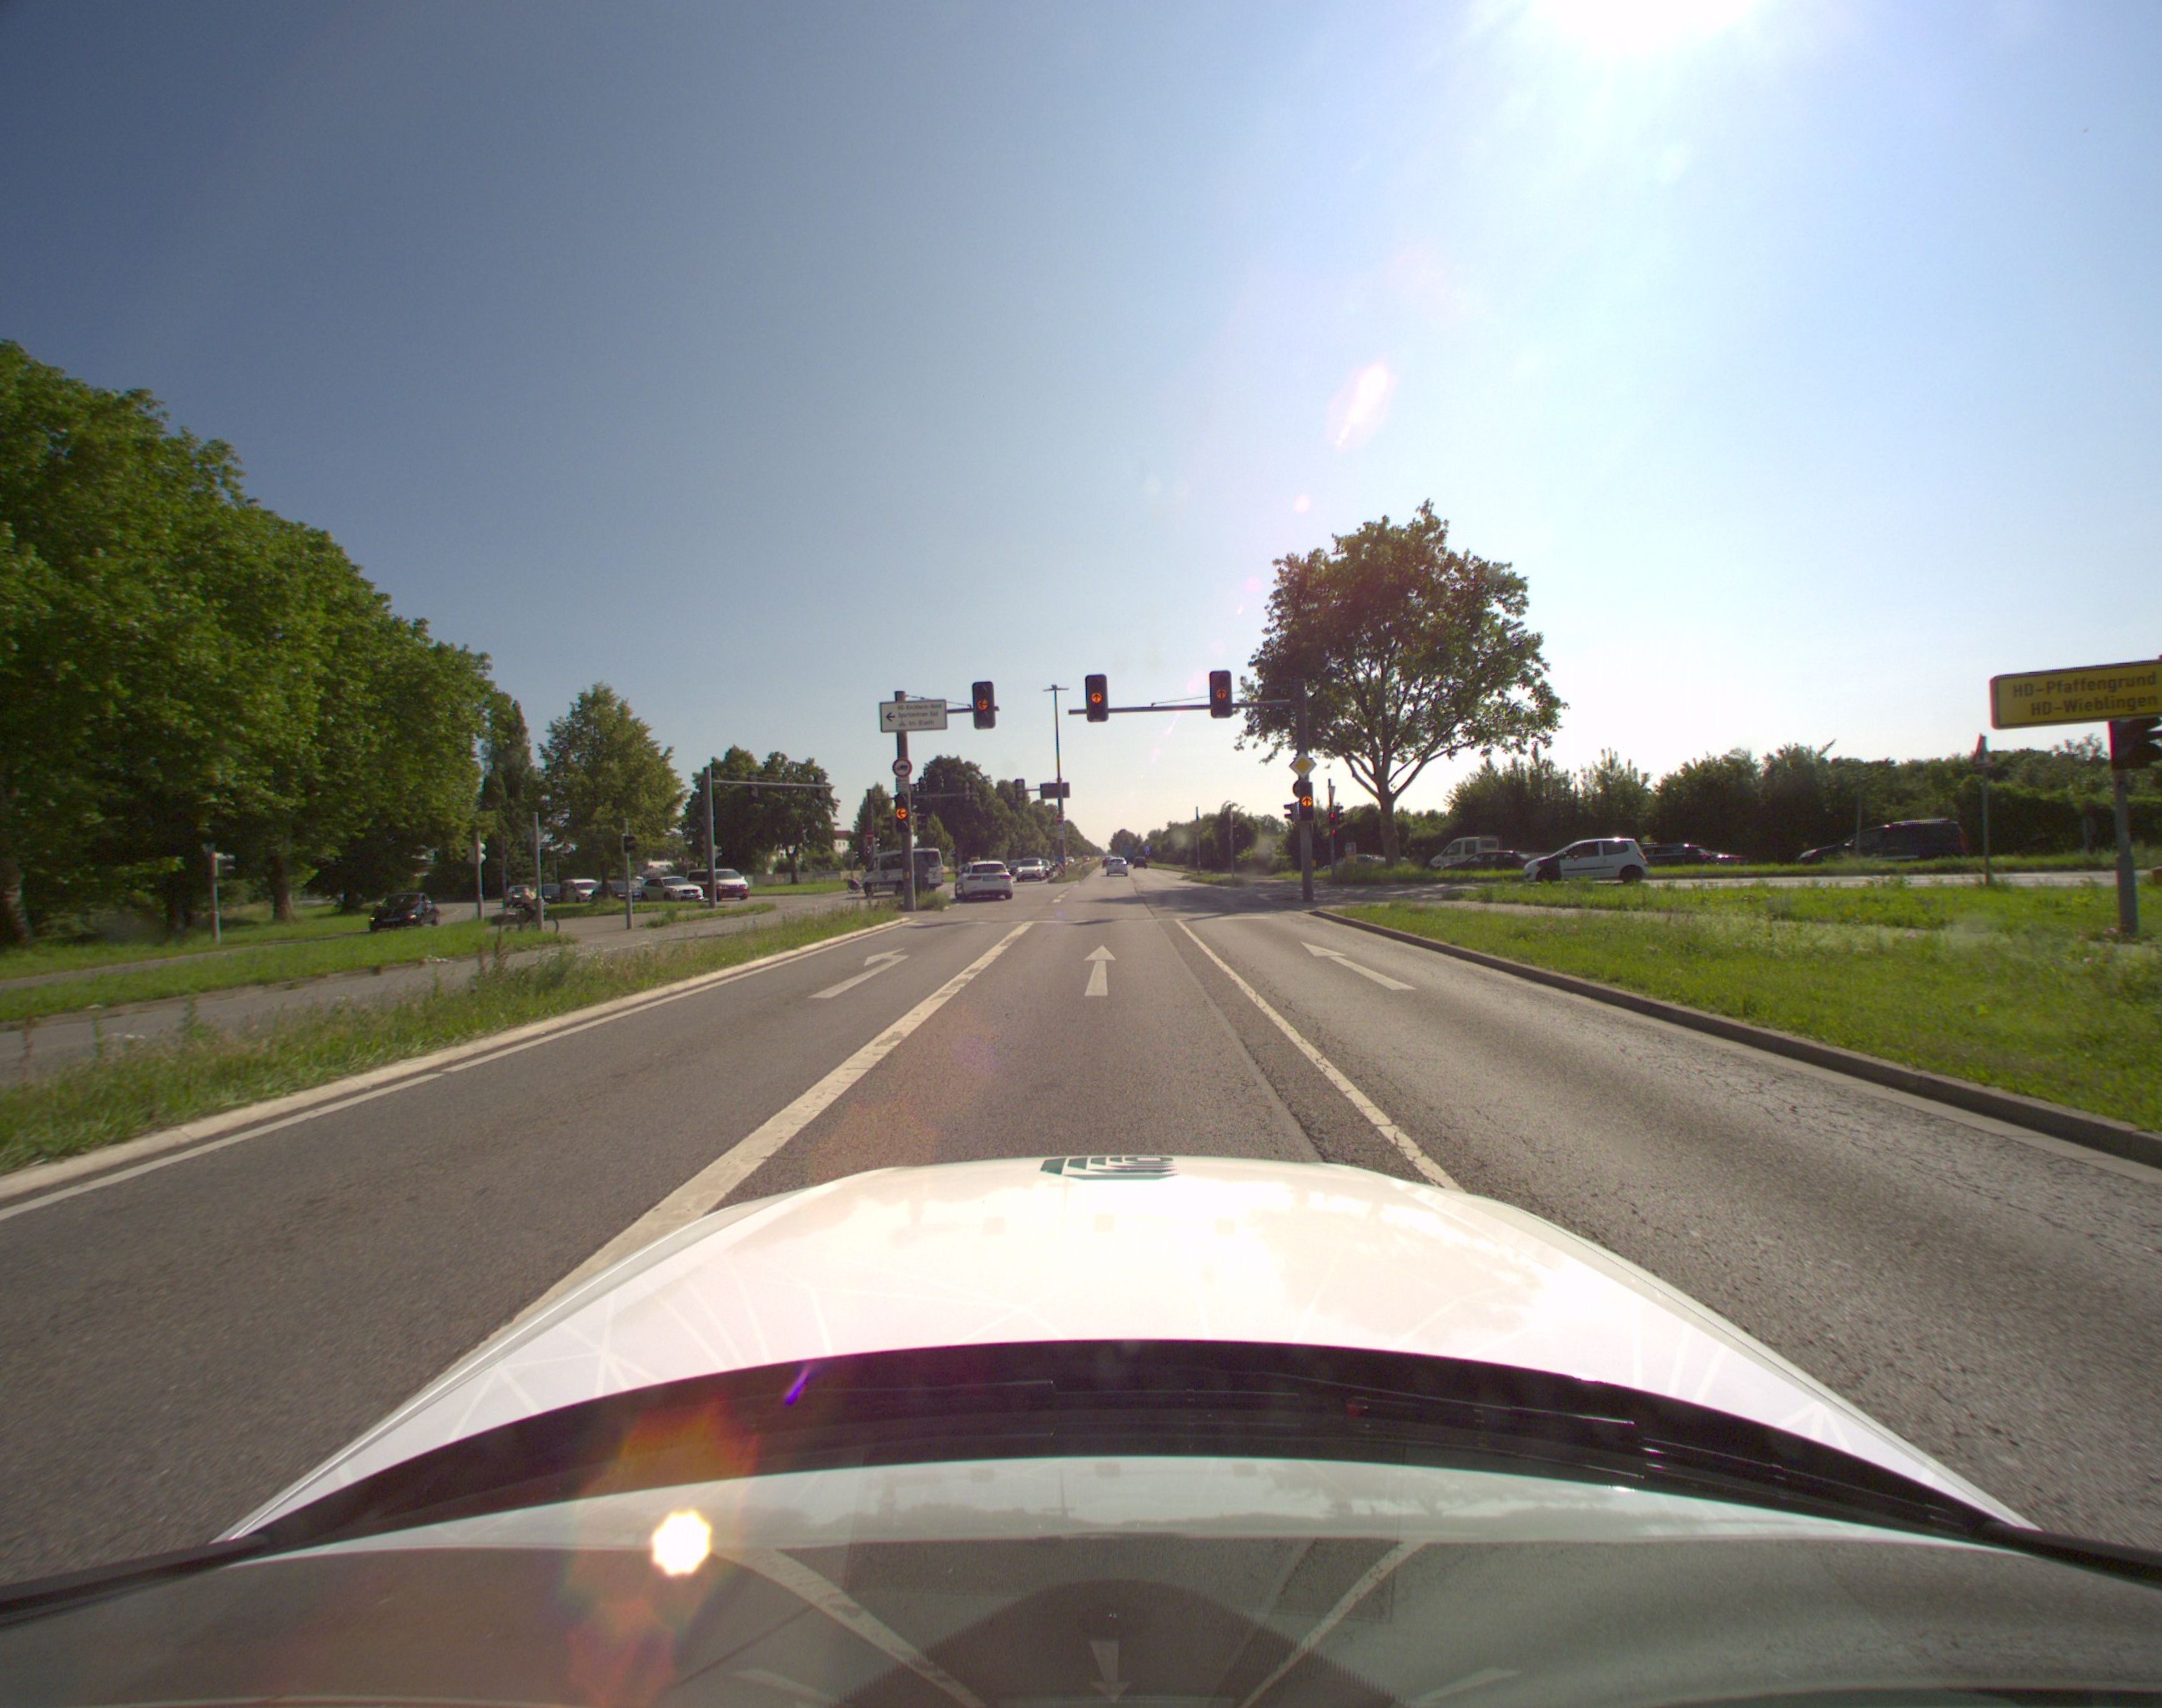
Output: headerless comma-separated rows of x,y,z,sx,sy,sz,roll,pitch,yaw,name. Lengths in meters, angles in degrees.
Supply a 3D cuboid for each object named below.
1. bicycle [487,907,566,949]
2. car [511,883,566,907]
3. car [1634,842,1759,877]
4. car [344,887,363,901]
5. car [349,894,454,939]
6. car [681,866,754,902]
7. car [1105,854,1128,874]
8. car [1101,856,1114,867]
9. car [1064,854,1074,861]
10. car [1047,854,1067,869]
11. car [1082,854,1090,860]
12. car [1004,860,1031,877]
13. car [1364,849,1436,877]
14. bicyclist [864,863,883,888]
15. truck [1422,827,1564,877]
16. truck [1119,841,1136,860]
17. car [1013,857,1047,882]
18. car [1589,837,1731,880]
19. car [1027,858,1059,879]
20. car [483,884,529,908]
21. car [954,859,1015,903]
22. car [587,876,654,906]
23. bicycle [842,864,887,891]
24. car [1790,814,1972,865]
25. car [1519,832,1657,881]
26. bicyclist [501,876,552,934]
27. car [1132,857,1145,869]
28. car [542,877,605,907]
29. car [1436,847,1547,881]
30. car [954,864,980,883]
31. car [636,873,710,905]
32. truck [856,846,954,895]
-15.126,2.010,22.220,1.667,1.041,0.748,-1,0,7,bicycle
-38.126,2.888,57.186,4.072,1.512,1.932,-3,0,37,car
26.846,0.262,35.636,1.899,1.420,3.955,1,-2,-37,car
-93.900,5.141,105.097,1.787,1.750,4.049,0,-1,-43,car
-27.882,2.518,33.605,2.001,1.495,4.253,-4,-1,-21,car
-22.041,1.834,49.293,4.595,1.950,2.013,-3,-1,37,car
2.873,0.781,65.747,1.791,1.552,4.003,-1,0,3,car
3.453,0.952,106.754,1.566,1.414,3.279,-2,0,2,car
-2.618,0.686,174.252,1.987,1.502,4.091,-2,0,1,car
-2.657,0.798,91.246,1.840,1.594,4.618,-3,0,1,car
1.271,0.822,204.707,1.906,1.502,4.091,-2,0,1,car
-5.988,1.337,77.315,1.922,1.437,4.271,-3,0,3,car
18.631,0.553,47.722,1.625,1.547,3.790,1,-2,-28,car
-13.340,1.371,52.425,0.854,1.618,0.763,-2,-1,30,bicyclist
21.483,-0.009,42.883,2.353,2.386,6.411,1,-2,-31,truck
8.722,-0.639,153.732,2.880,3.428,9.174,-2,0,2,truck
-3.618,1.098,58.289,2.003,1.610,4.212,-3,-1,1,car
23.985,0.218,33.891,1.895,1.635,4.419,1,-1,-37,car
-2.993,1.131,65.095,1.808,1.485,4.900,-2,0,5,car
-42.954,3.131,60.830,4.214,1.606,2.017,-3,0,44,car
-3.842,1.000,31.642,1.814,1.464,4.949,-3,0,-13,car
-28.136,2.279,49.758,4.212,1.606,2.018,-3,0,37,car
-14.047,1.520,52.867,2.765,1.670,1.143,-3,0,29,bicycle
27.881,-0.432,28.522,1.897,1.635,4.414,1,-2,-44,car
16.647,0.082,26.964,3.707,1.469,1.796,-2,0,28,car
-15.118,1.380,22.217,0.842,1.517,0.748,-1,0,7,bicyclist
7.005,1.094,99.579,1.566,1.414,3.279,-1,-1,2,car
-33.539,2.507,53.741,4.448,1.801,2.018,-3,0,37,car
19.976,0.502,39.794,2.007,1.528,4.424,-2,0,-32,car
-9.705,1.630,69.513,1.480,1.414,3.764,-5,0,2,car
-23.018,2.005,45.881,4.212,1.606,2.018,-3,0,37,car
-9.456,0.873,43.299,2.394,2.389,5.968,-2,0,-41,truck
